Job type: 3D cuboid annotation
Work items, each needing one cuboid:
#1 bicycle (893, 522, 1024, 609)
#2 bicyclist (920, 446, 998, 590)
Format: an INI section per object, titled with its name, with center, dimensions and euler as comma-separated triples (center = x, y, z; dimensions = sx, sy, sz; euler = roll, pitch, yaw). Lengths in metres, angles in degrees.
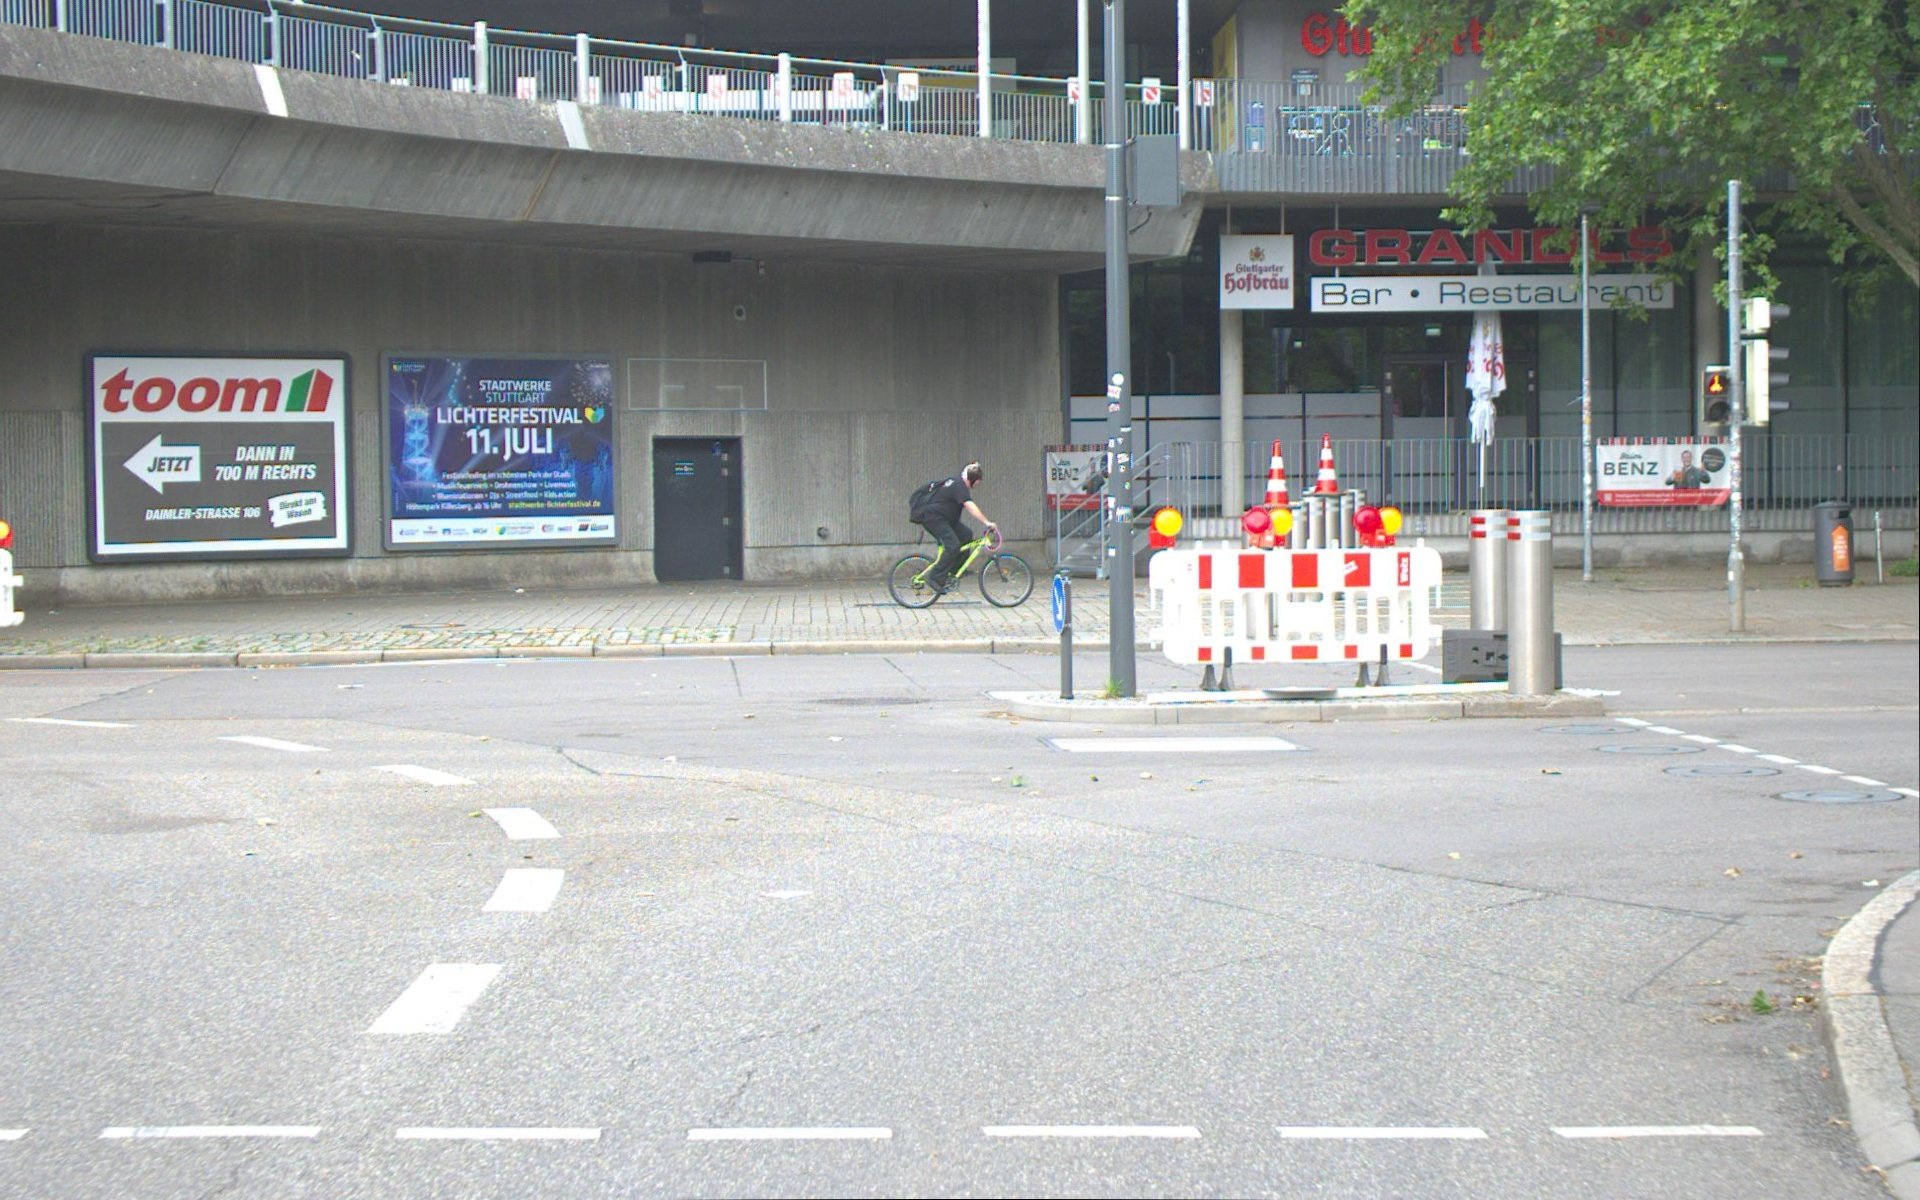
[bicycle]
center = -0.025, -0.418, 41.426
dimensions = 1.532, 1.009, 0.517
euler = 1, 1, -4
[bicyclist]
center = -0.019, -0.986, 41.418
dimensions = 0.851, 1.692, 0.767
euler = 1, 1, -4
